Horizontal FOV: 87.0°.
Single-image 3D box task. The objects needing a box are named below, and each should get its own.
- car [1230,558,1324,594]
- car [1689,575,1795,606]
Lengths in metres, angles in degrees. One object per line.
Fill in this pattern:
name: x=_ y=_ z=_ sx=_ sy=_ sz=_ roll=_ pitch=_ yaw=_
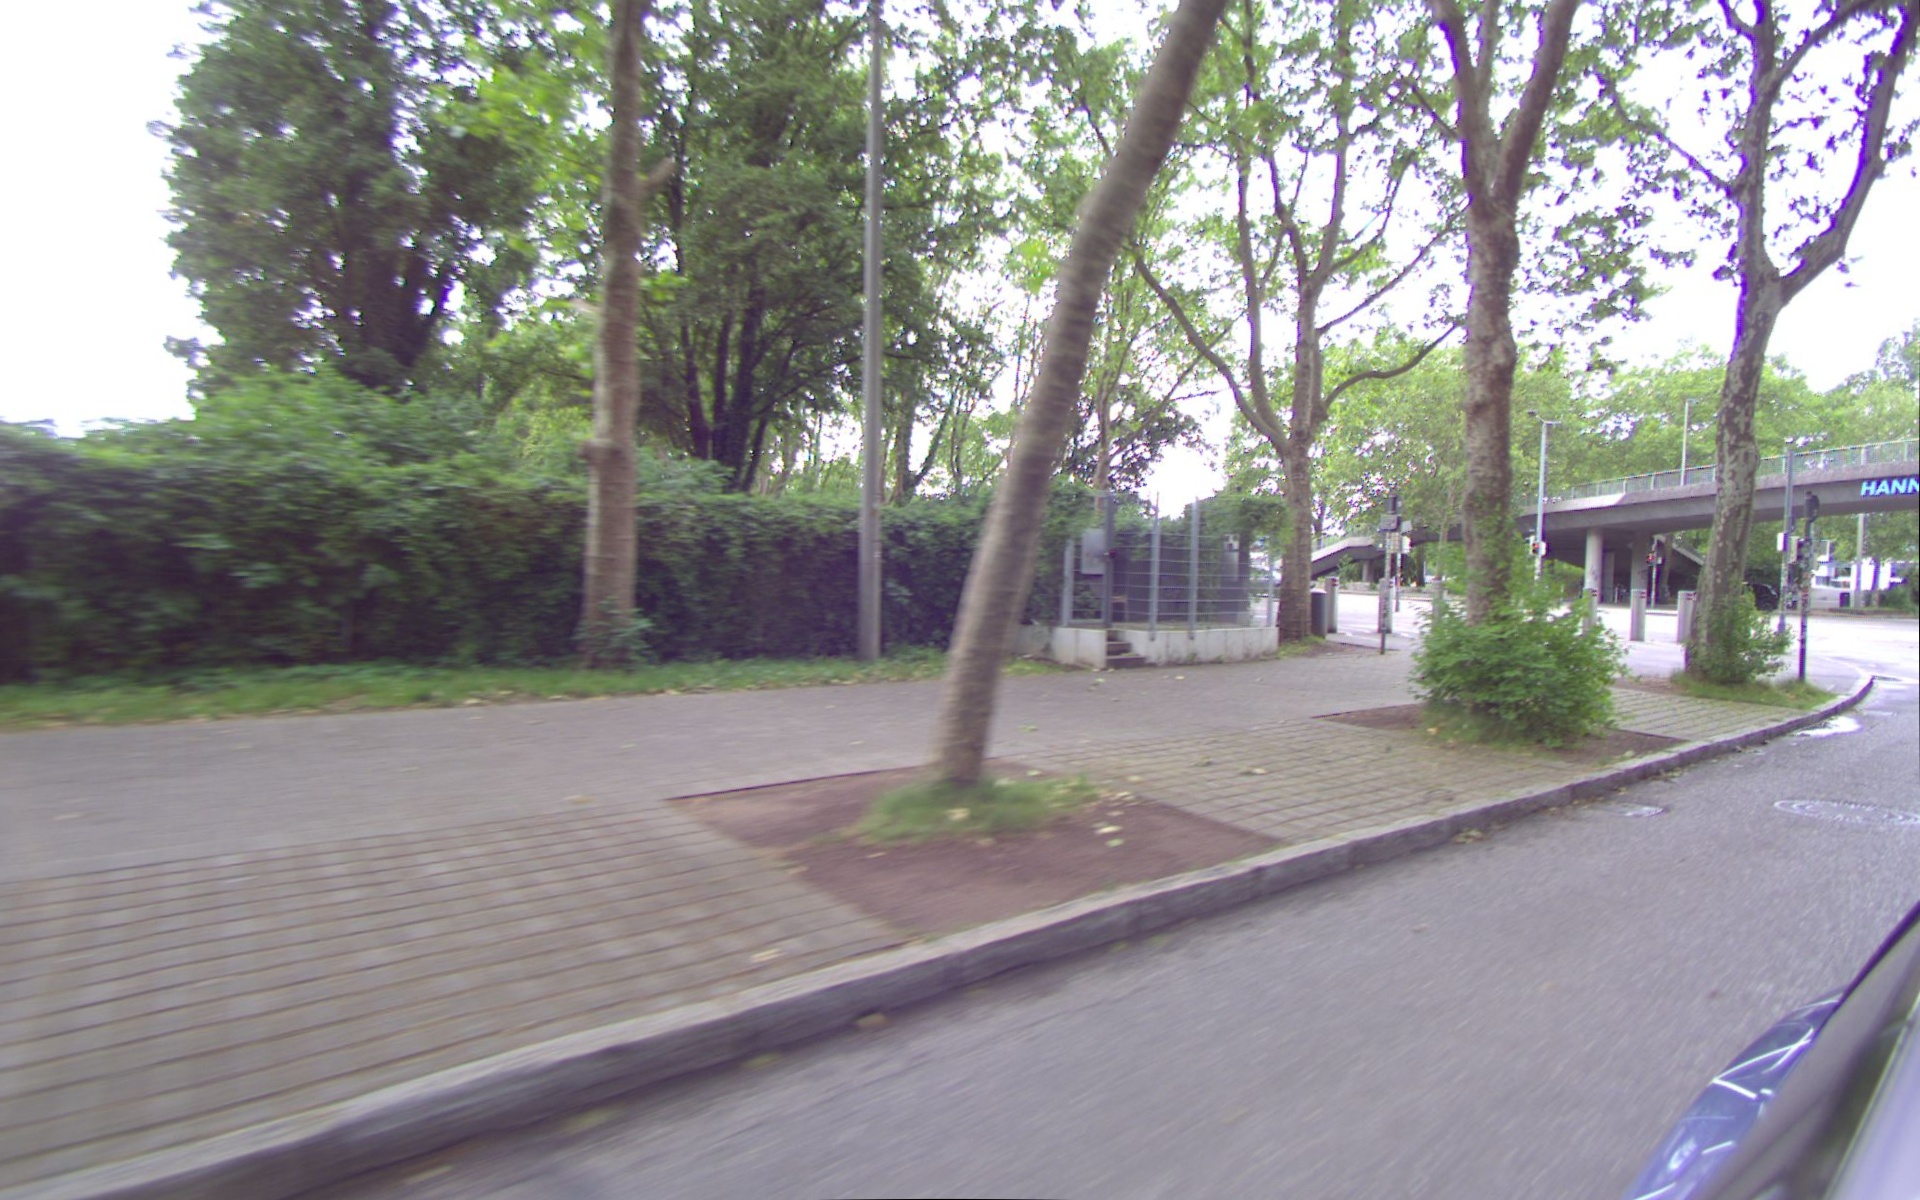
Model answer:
car: x=15.234 y=-1.172 z=48.751 sx=1.766 sy=1.528 sz=4.001 roll=0 pitch=3 yaw=-36
car: x=38.786 y=-0.499 z=50.264 sx=3.661 sy=1.336 sz=1.758 roll=2 pitch=4 yaw=14
